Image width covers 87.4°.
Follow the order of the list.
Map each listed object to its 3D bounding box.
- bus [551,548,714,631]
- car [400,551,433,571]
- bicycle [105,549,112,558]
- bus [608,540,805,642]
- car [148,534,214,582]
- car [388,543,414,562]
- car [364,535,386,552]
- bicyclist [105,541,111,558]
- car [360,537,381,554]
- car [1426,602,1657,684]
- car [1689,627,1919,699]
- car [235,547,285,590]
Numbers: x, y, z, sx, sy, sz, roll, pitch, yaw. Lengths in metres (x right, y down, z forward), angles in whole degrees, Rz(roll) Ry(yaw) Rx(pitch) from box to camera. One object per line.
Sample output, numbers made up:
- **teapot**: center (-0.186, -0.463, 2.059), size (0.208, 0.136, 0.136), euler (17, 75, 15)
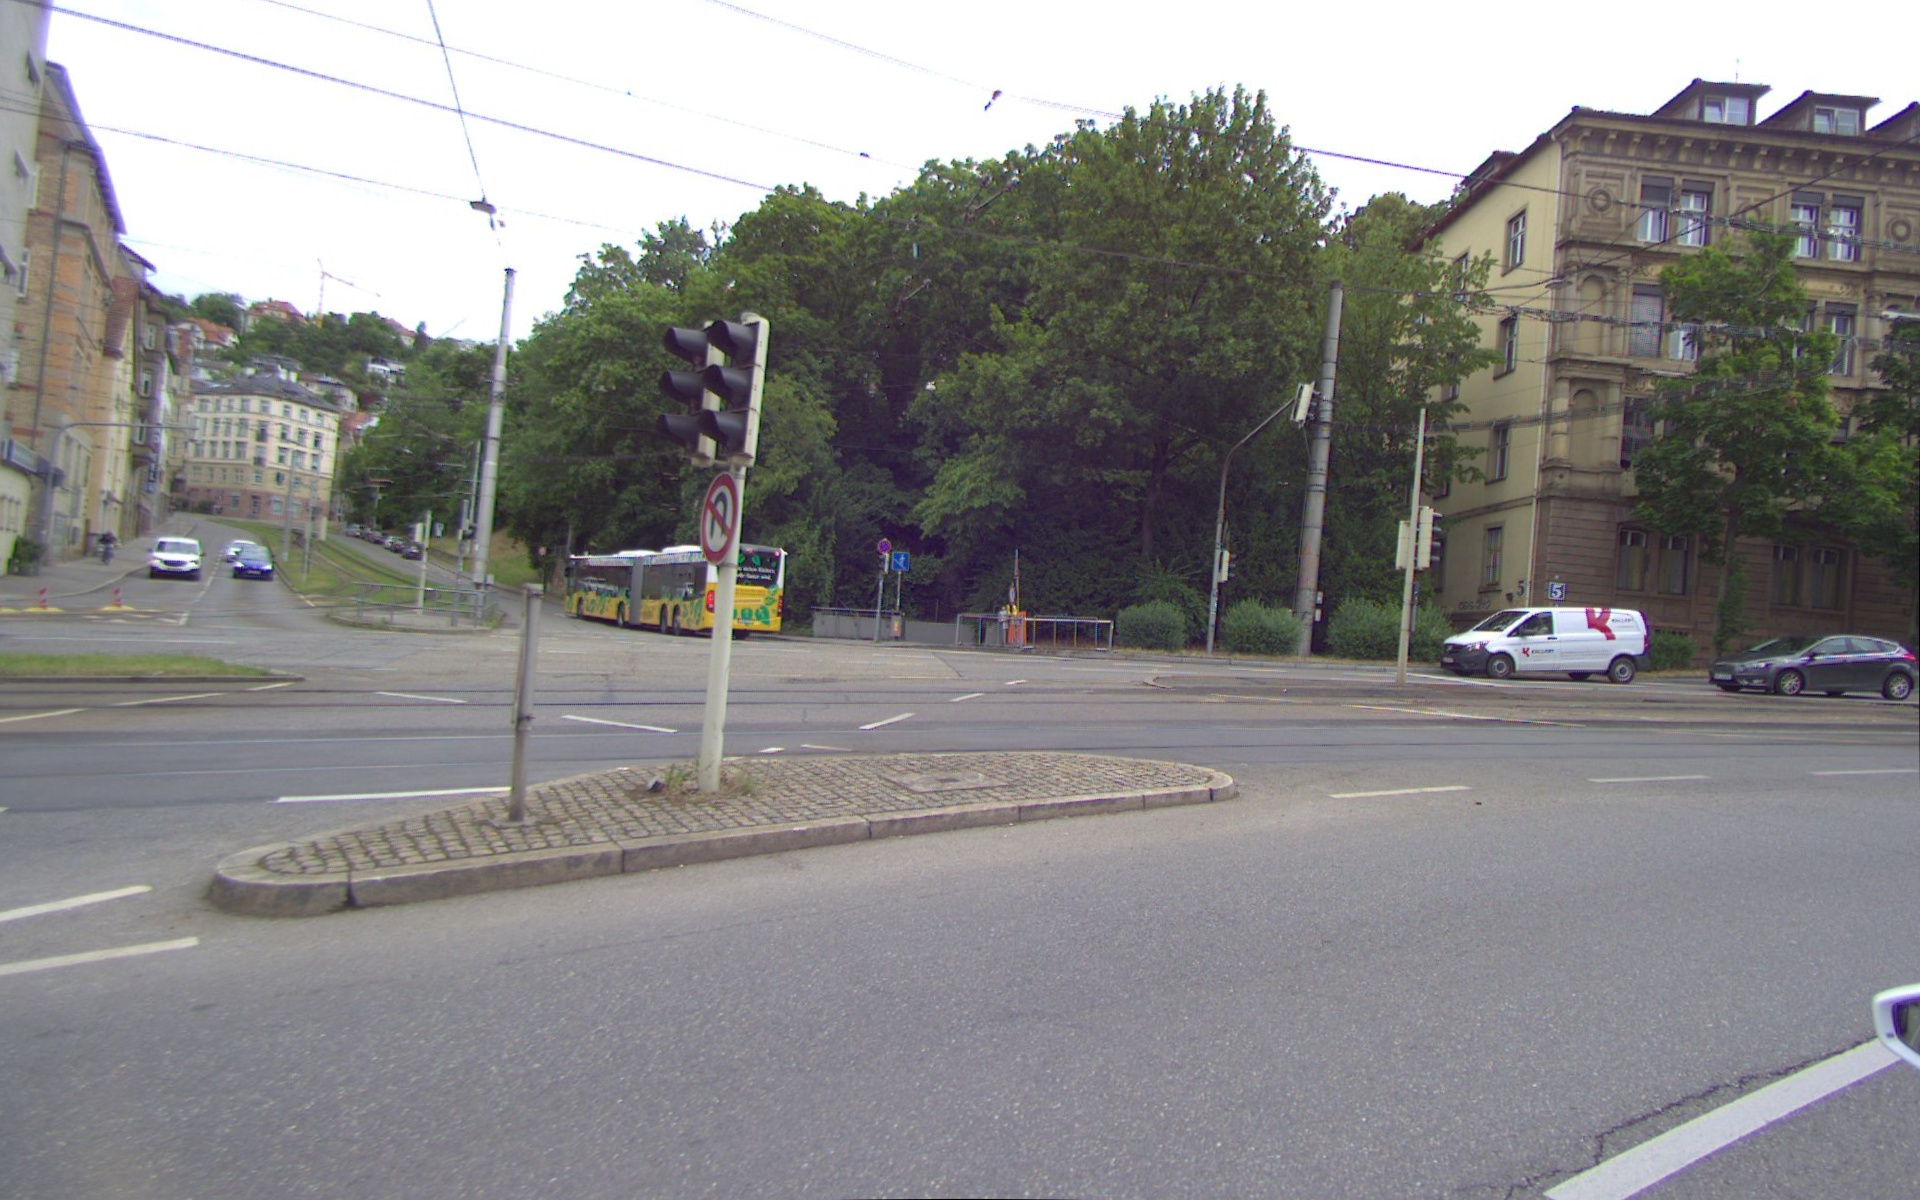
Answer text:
- **bus**: center (-14.470, -0.481, 43.525), size (3.293, 3.084, 11.243), euler (2, 0, -36)
- **car**: center (-53.593, -3.838, 99.063), size (2.404, 1.862, 3.961), euler (2, 0, -34)
- **bicycle**: center (-42.128, -2.297, 49.690), size (0.191, 0.463, 0.528), euler (2, 0, -36)
- **bus**: center (-9.528, -0.346, 36.252), size (3.354, 3.069, 11.443), euler (2, 0, -33)
- **car**: center (-35.942, -1.958, 46.305), size (1.986, 2.040, 3.948), euler (2, 1, -43)
- **car**: center (-59.709, -5.039, 107.245), size (1.980, 1.862, 3.961), euler (2, 0, -34)
- **car**: center (-69.595, -6.694, 119.468), size (1.980, 1.862, 3.961), euler (2, 0, -34)
- **bicyclist**: center (-42.137, -2.480, 49.704), size (0.191, 0.821, 0.237), euler (2, 0, -37)
- **car**: center (-74.423, -6.861, 126.725), size (1.980, 1.862, 3.961), euler (2, 0, -34)
- **car**: center (15.150, 1.096, 26.334), size (4.897, 1.874, 1.999), euler (2, 0, -4)
- **car**: center (19.949, 1.456, 23.647), size (4.320, 1.445, 1.748), euler (3, -2, -1)
- **car**: center (-35.899, -1.607, 51.554), size (1.980, 2.040, 3.961), euler (2, 0, -35)
